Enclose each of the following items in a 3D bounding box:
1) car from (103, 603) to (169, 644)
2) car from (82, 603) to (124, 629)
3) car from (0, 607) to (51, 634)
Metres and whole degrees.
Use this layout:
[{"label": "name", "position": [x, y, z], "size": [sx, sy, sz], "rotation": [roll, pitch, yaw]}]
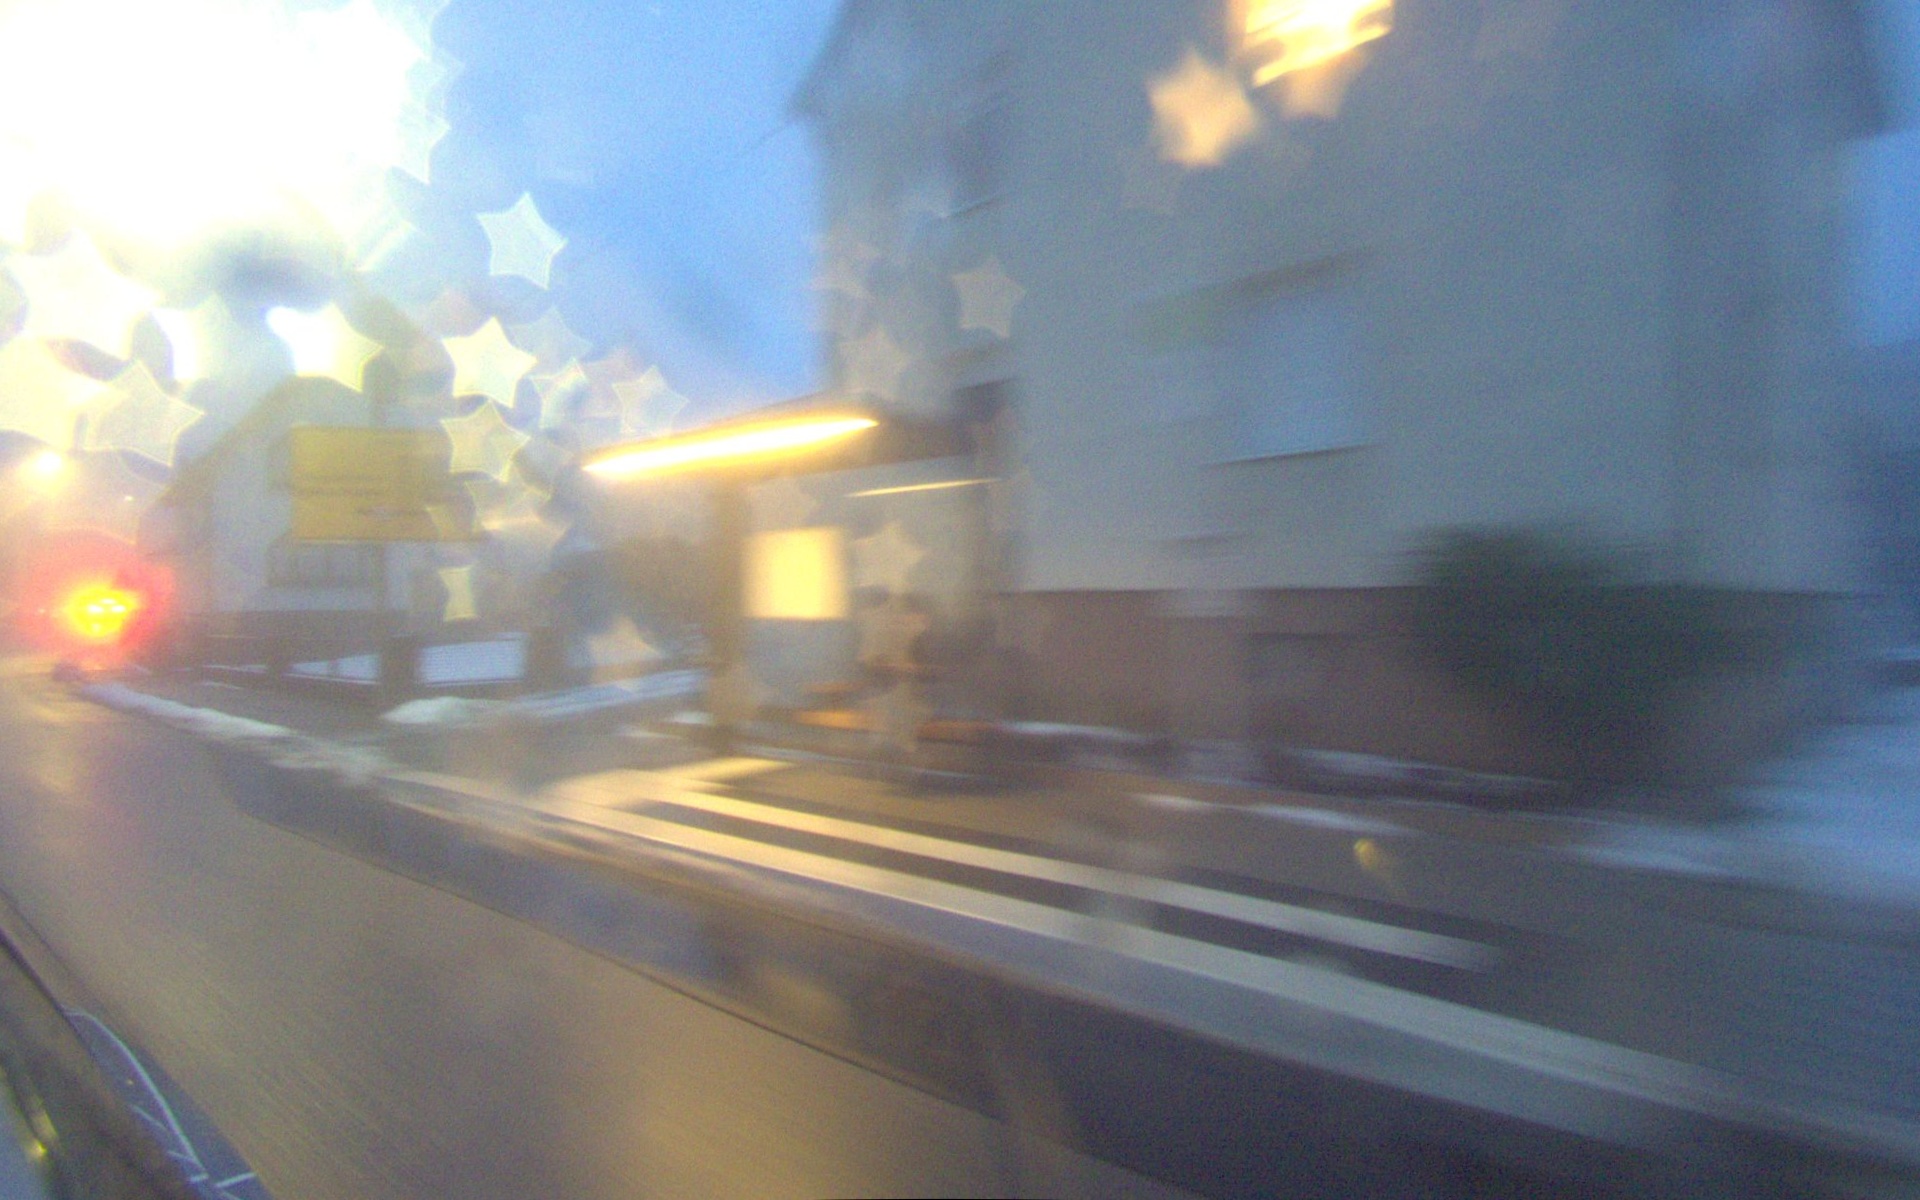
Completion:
[{"label": "car", "position": [-34.302, 0.939, 42.181], "size": [1.968, 1.534, 4.198], "rotation": [-4, 2, -39]}, {"label": "car", "position": [-57.962, 1.088, 68.509], "size": [1.816, 1.700, 4.488], "rotation": [-1, 0, -36]}, {"label": "car", "position": [-58.654, 1.259, 63.356], "size": [1.884, 1.492, 4.294], "rotation": [-1, 2, -33]}]
